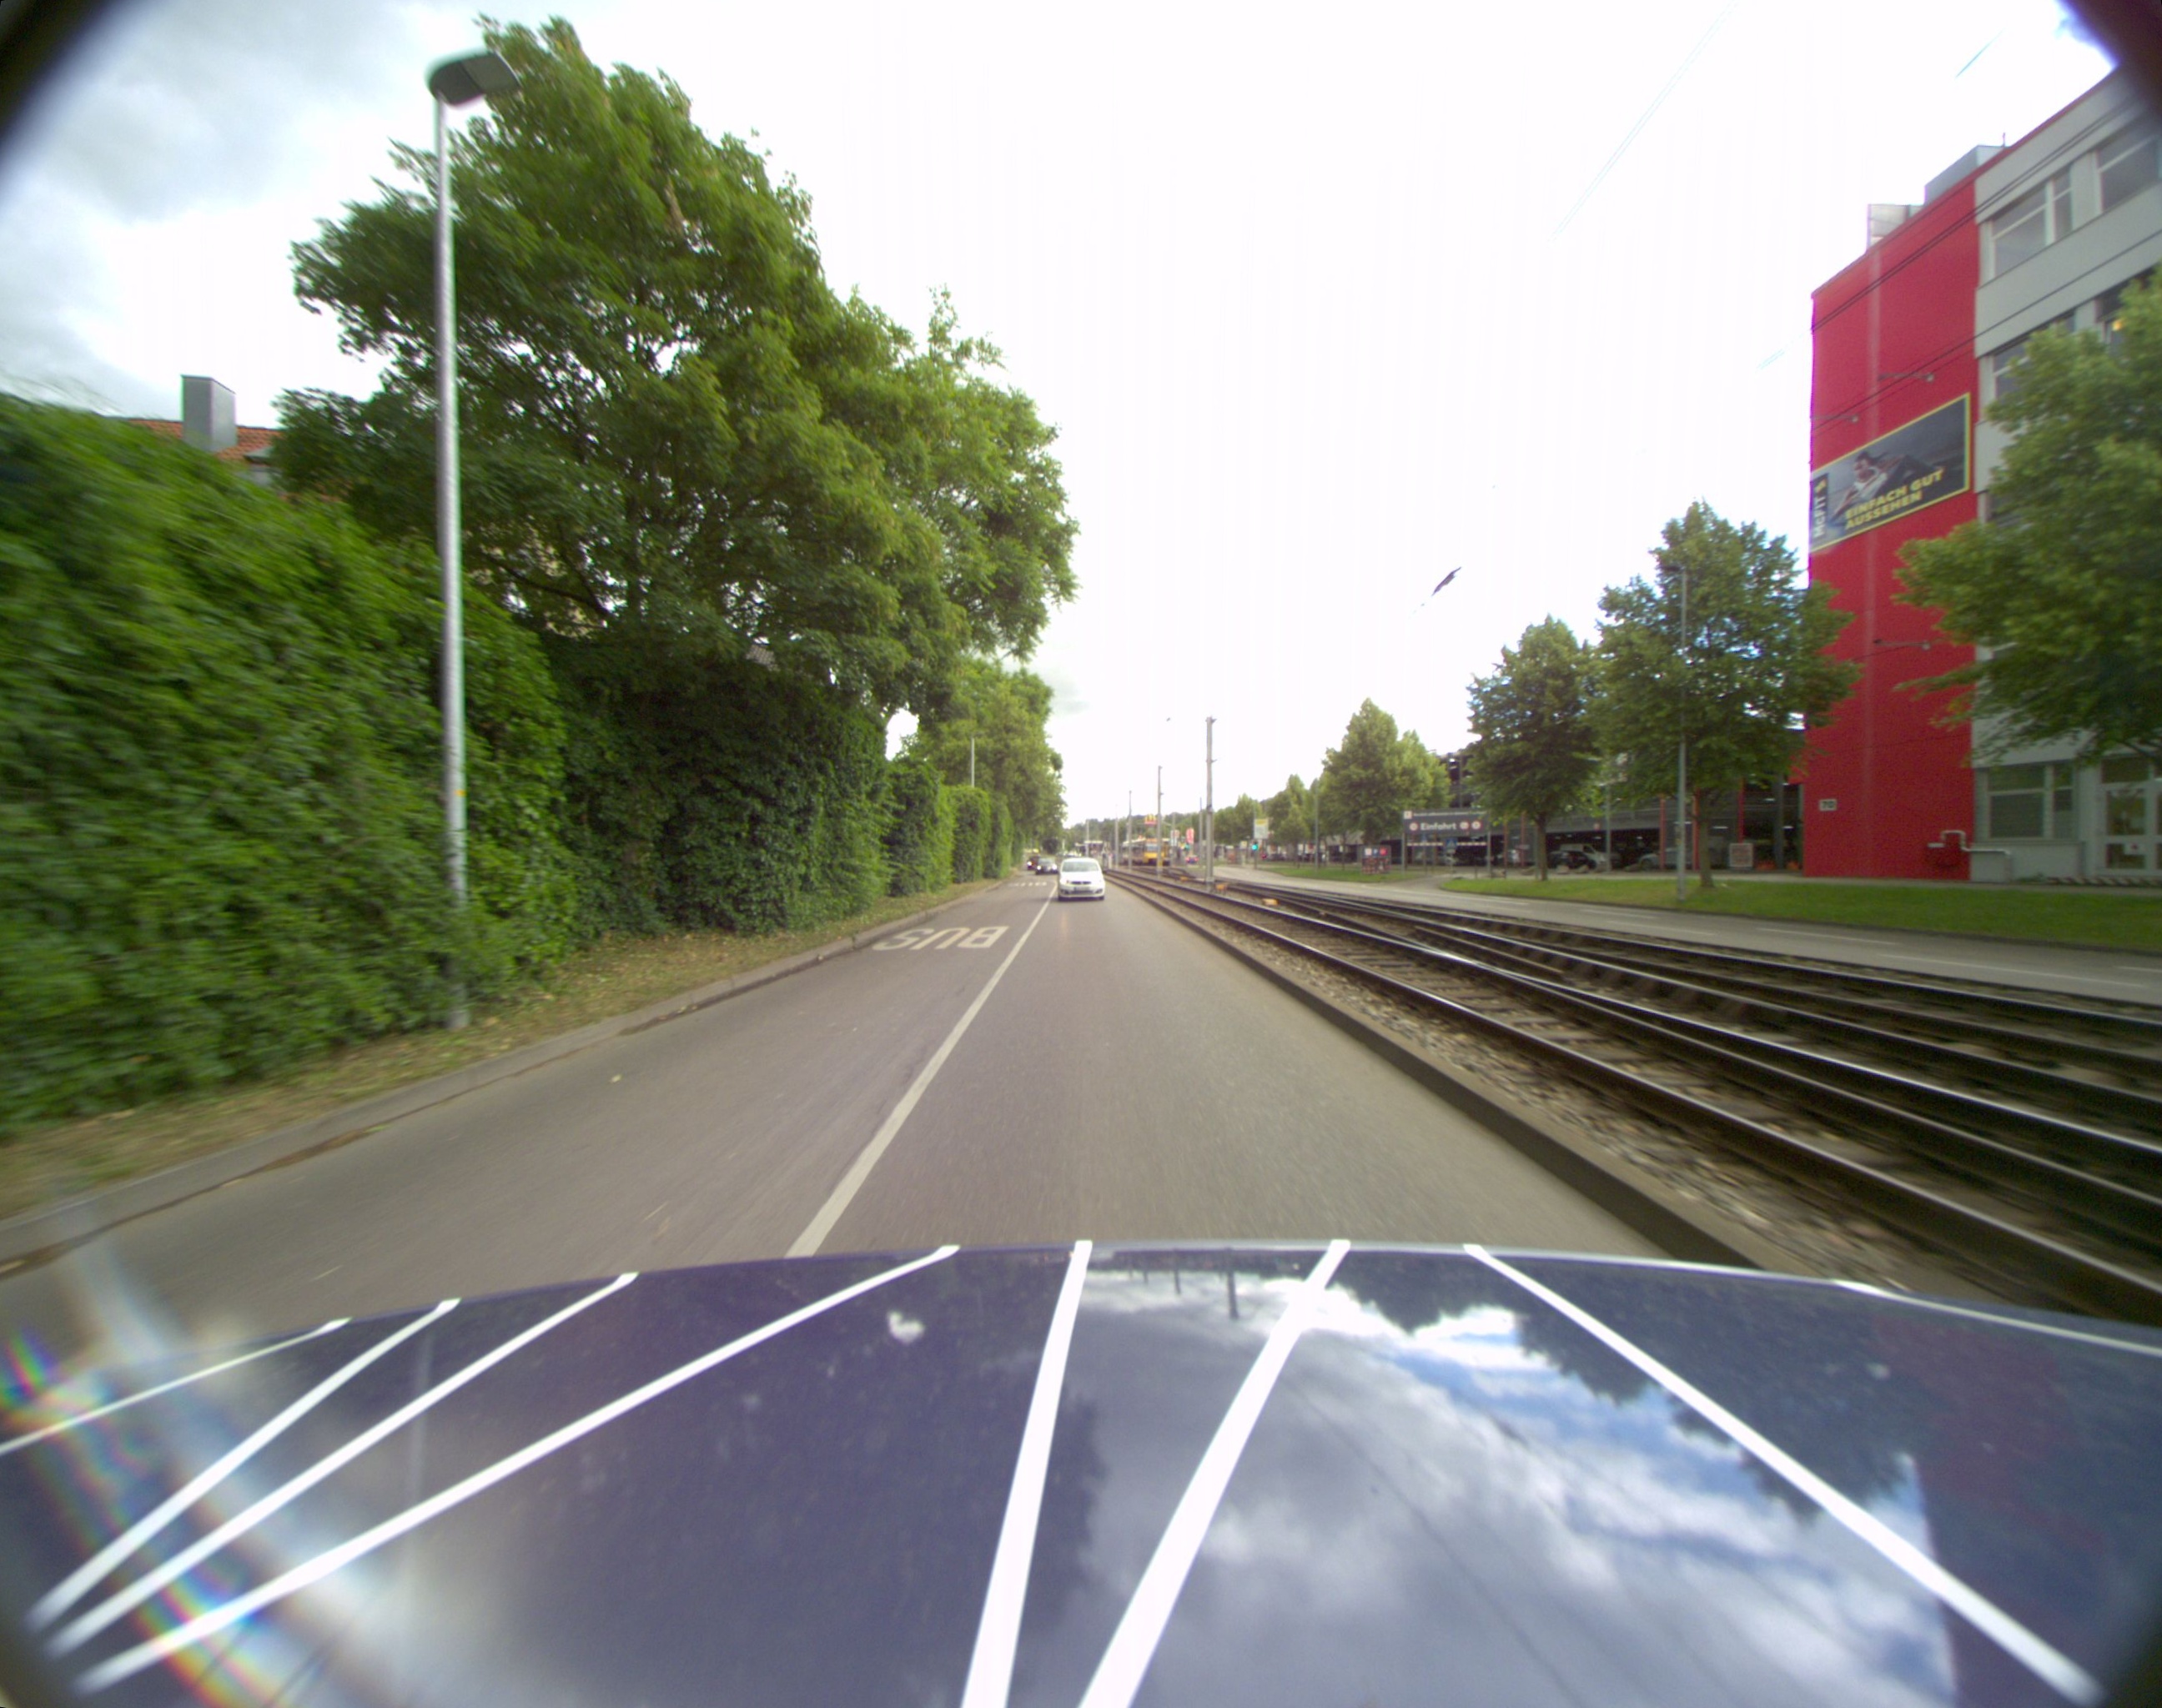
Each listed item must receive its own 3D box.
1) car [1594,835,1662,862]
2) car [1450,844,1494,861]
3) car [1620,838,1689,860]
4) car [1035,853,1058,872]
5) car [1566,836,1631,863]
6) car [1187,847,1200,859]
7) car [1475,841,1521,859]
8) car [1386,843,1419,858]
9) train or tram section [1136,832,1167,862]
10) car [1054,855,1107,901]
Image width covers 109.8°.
[{"bbox_3d":[42.546,-0.435,59.235,1.999,2.002,4.404,-1,0,-2],"label":"car"},{"bbox_3d":[38.813,-0.201,75.530,1.999,1.618,4.404,-1,0,-2],"label":"car"},{"bbox_3d":[44.683,-0.414,59.339,1.999,1.640,4.404,-1,0,-2],"label":"car"},{"bbox_3d":[-2.995,0.736,66.560,1.714,1.586,4.000,-1,0,1],"label":"car"},{"bbox_3d":[40.137,-0.351,59.083,1.999,2.002,4.404,-1,0,-2],"label":"car"},{"bbox_3d":[18.720,-0.207,126.240,1.997,2.002,4.002,-1,0,7],"label":"car"},{"bbox_3d":[41.400,-0.393,75.542,1.999,1.689,4.404,-1,0,-2],"label":"car"},{"bbox_3d":[38.949,-0.431,92.237,1.999,1.689,4.404,-1,0,-2],"label":"car"},{"bbox_3d":[9.324,-0.946,102.239,2.778,3.753,13.785,-1,0,-1],"label":"train or tram section"},{"bbox_3d":[0.004,0.831,27.788,1.764,1.469,4.031,-2,0,1],"label":"car"}]
